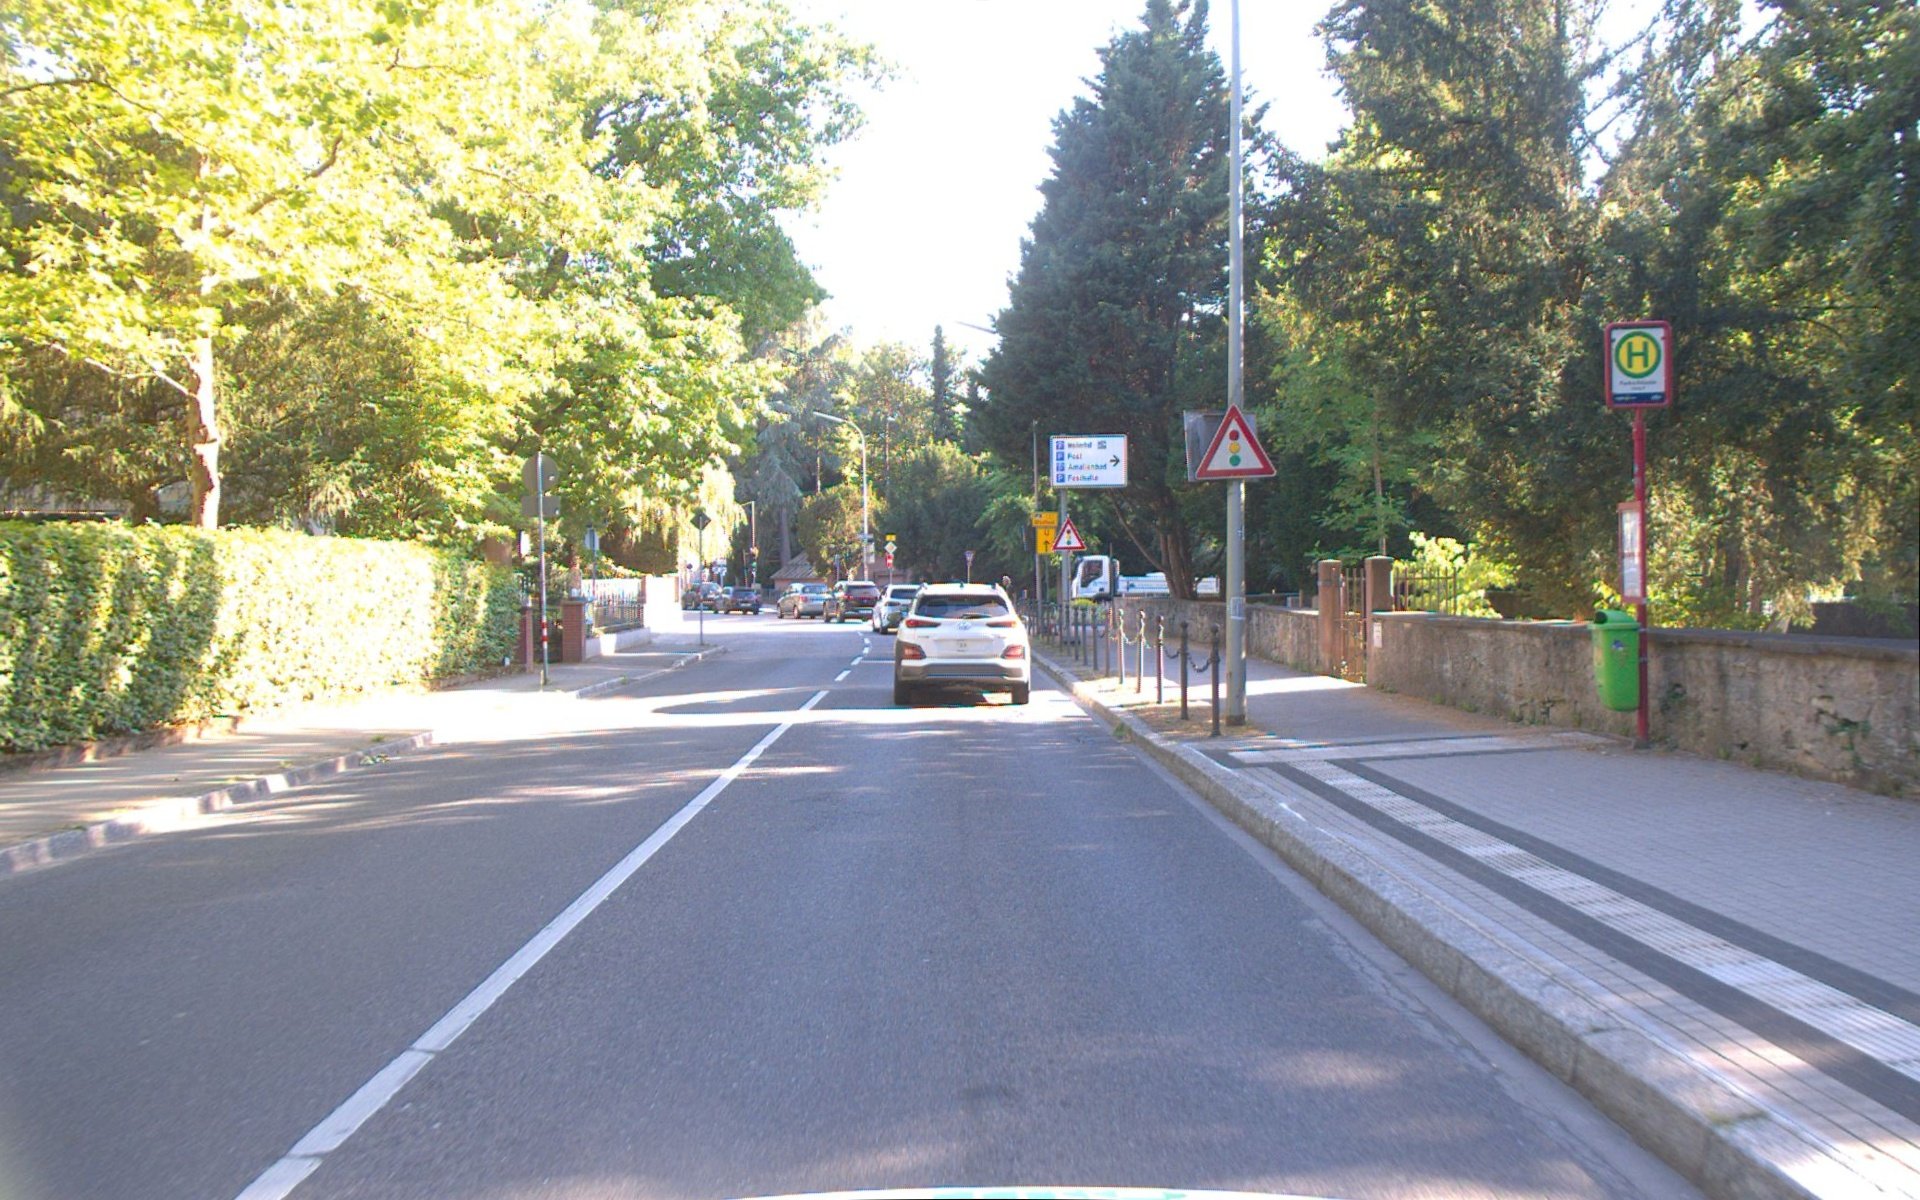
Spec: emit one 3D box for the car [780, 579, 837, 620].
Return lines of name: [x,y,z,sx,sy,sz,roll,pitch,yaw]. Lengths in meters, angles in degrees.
car: [-6.872,-0.050,74.488,1.802,1.771,3.982,1,0,-17]

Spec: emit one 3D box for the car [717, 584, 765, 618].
car: [-11.513,0.024,86.873,1.803,1.691,3.979,1,1,-18]

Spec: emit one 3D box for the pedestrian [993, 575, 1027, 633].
pedestrian: [1.658,0.126,54.631,0.934,1.857,0.547,1,2,-40]

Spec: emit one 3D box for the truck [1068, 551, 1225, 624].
truck: [7.818,-0.539,70.031,6.449,2.945,2.434,1,0,4]

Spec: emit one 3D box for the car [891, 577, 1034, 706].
car: [-0.014,0.507,22.966,1.783,1.601,3.999,1,0,-2]

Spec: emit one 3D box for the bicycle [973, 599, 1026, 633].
bicycle: [1.315,0.527,54.740,1.799,1.061,0.554,0,2,-39]

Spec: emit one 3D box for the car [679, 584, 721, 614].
car: [-15.435,-0.055,98.032,1.804,1.691,3.978,1,0,-19]

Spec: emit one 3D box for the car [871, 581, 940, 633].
car: [-1.766,0.200,52.204,1.771,1.564,3.994,1,0,-7]

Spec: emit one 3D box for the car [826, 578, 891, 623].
car: [-3.988,-0.004,64.611,1.801,1.691,3.985,1,0,-14]
